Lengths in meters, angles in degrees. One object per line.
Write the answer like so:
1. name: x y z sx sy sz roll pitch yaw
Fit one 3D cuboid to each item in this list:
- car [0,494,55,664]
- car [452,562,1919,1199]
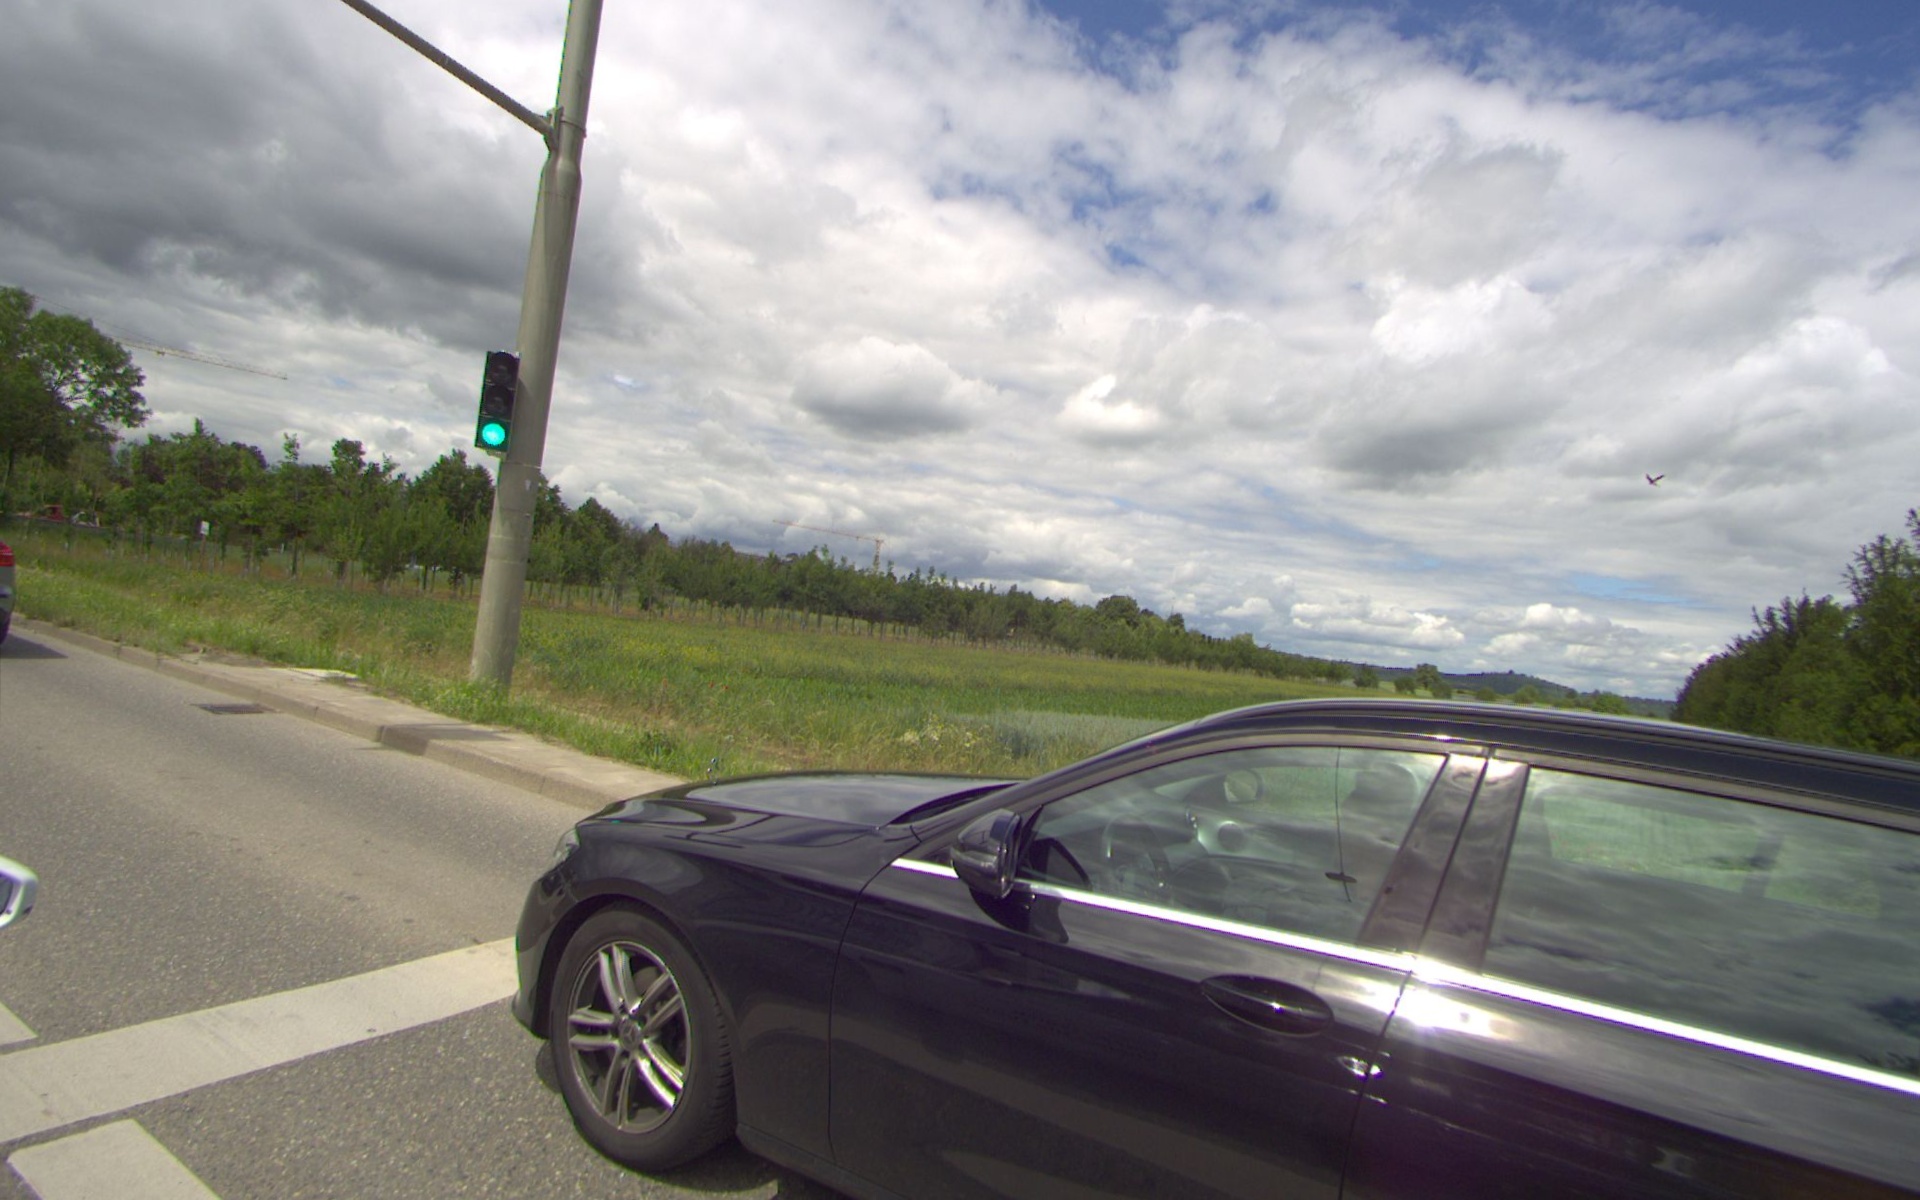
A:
1. car: -10.908 -0.459 9.780 4.372 1.536 1.866 7 -1 31
2. car: 1.266 0.956 2.359 5.113 1.458 1.876 7 -1 31
